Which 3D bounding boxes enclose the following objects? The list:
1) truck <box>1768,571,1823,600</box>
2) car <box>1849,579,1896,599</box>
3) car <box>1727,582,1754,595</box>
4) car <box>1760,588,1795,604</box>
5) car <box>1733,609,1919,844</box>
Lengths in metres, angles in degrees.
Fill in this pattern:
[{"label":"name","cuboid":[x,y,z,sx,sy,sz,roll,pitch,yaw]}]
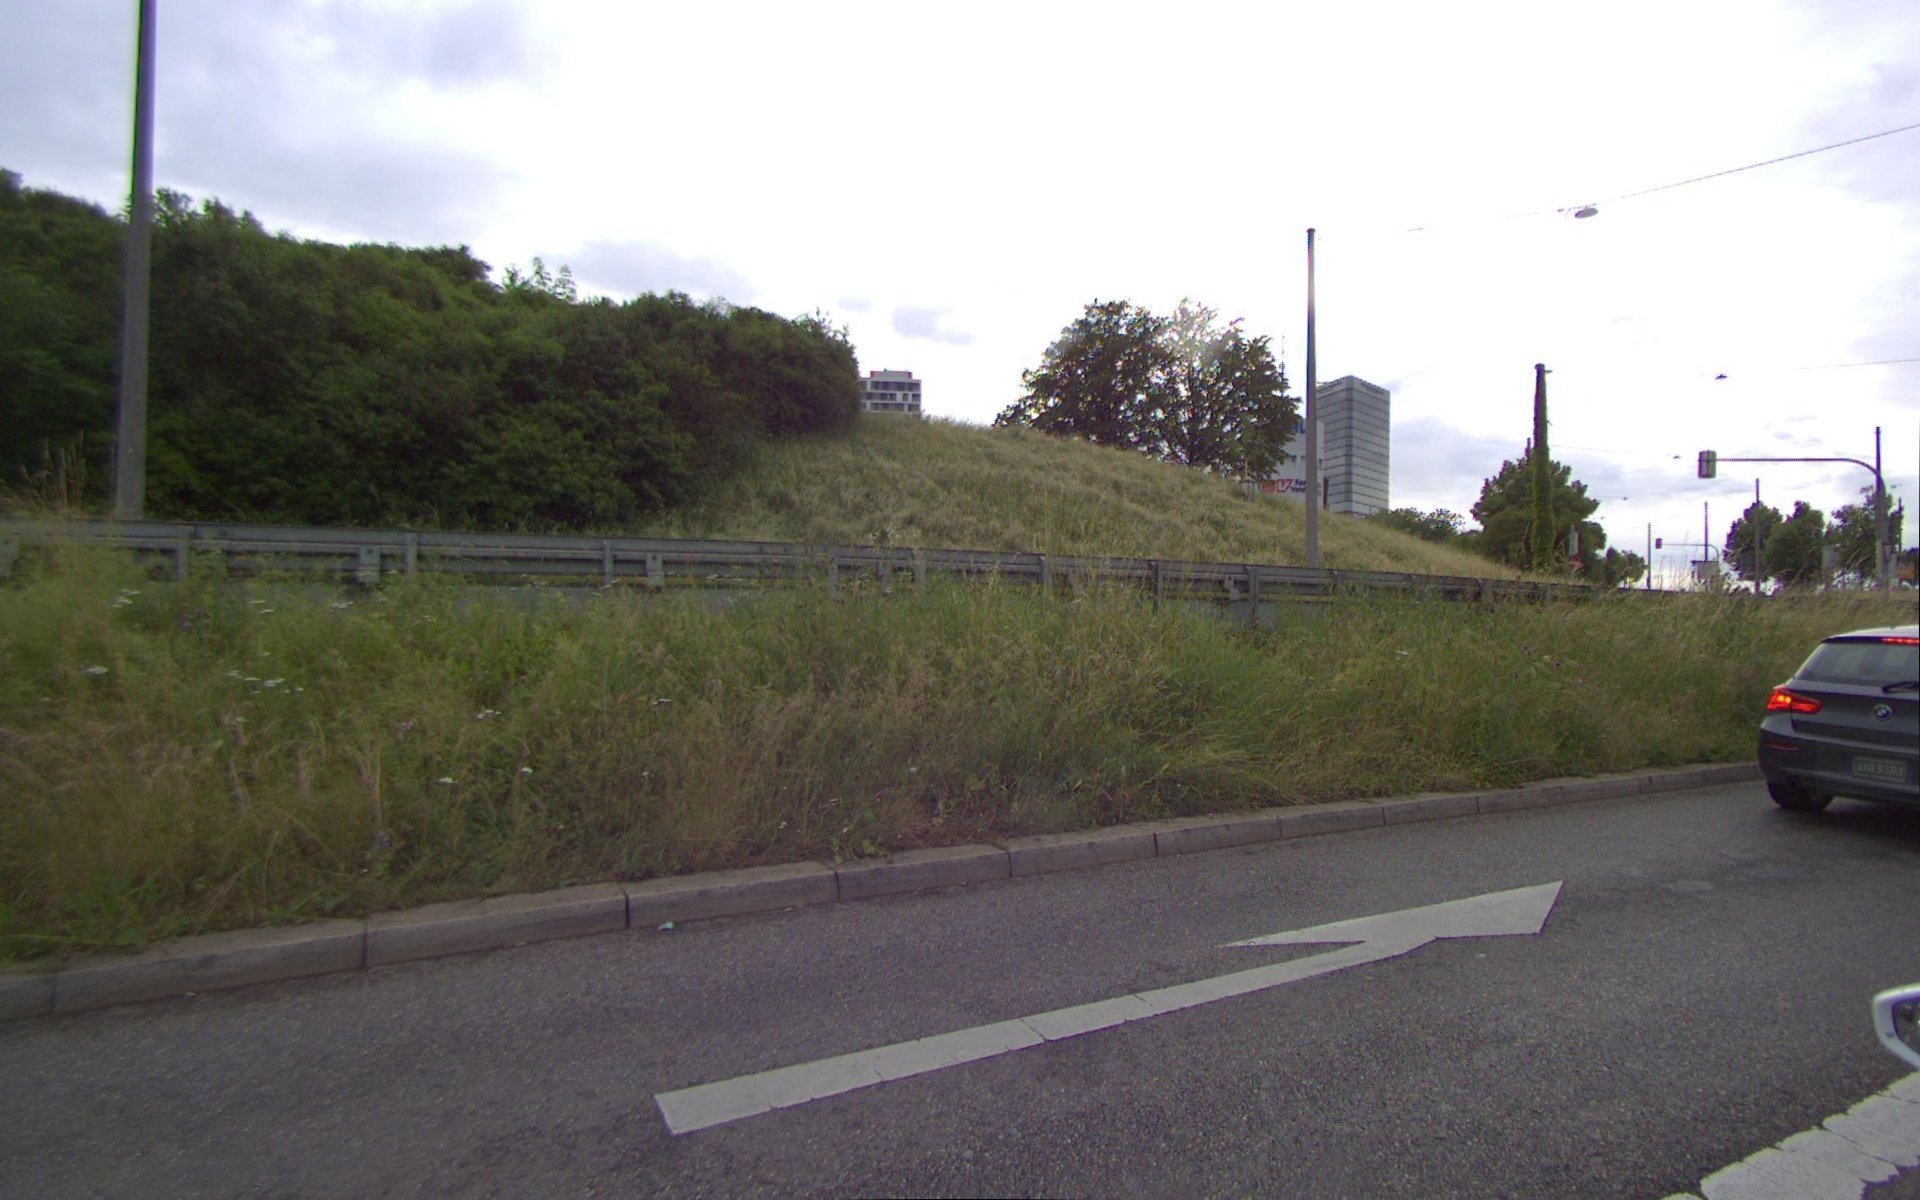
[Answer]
[{"label":"truck","cuboid":[98.784,-1.757,118.813,3.206,3.116,6.171,4,3,23]},{"label":"car","cuboid":[86.225,-1.047,94.992,1.962,1.681,4.541,2,-1,25]},{"label":"car","cuboid":[106.769,-1.599,137.436,1.962,1.682,4.540,2,1,25]},{"label":"car","cuboid":[91.251,-0.454,112.107,1.962,1.681,4.350,2,-1,25]},{"label":"car","cuboid":[7.814,0.876,7.485,4.062,1.479,1.696,2,-1,-27]}]
